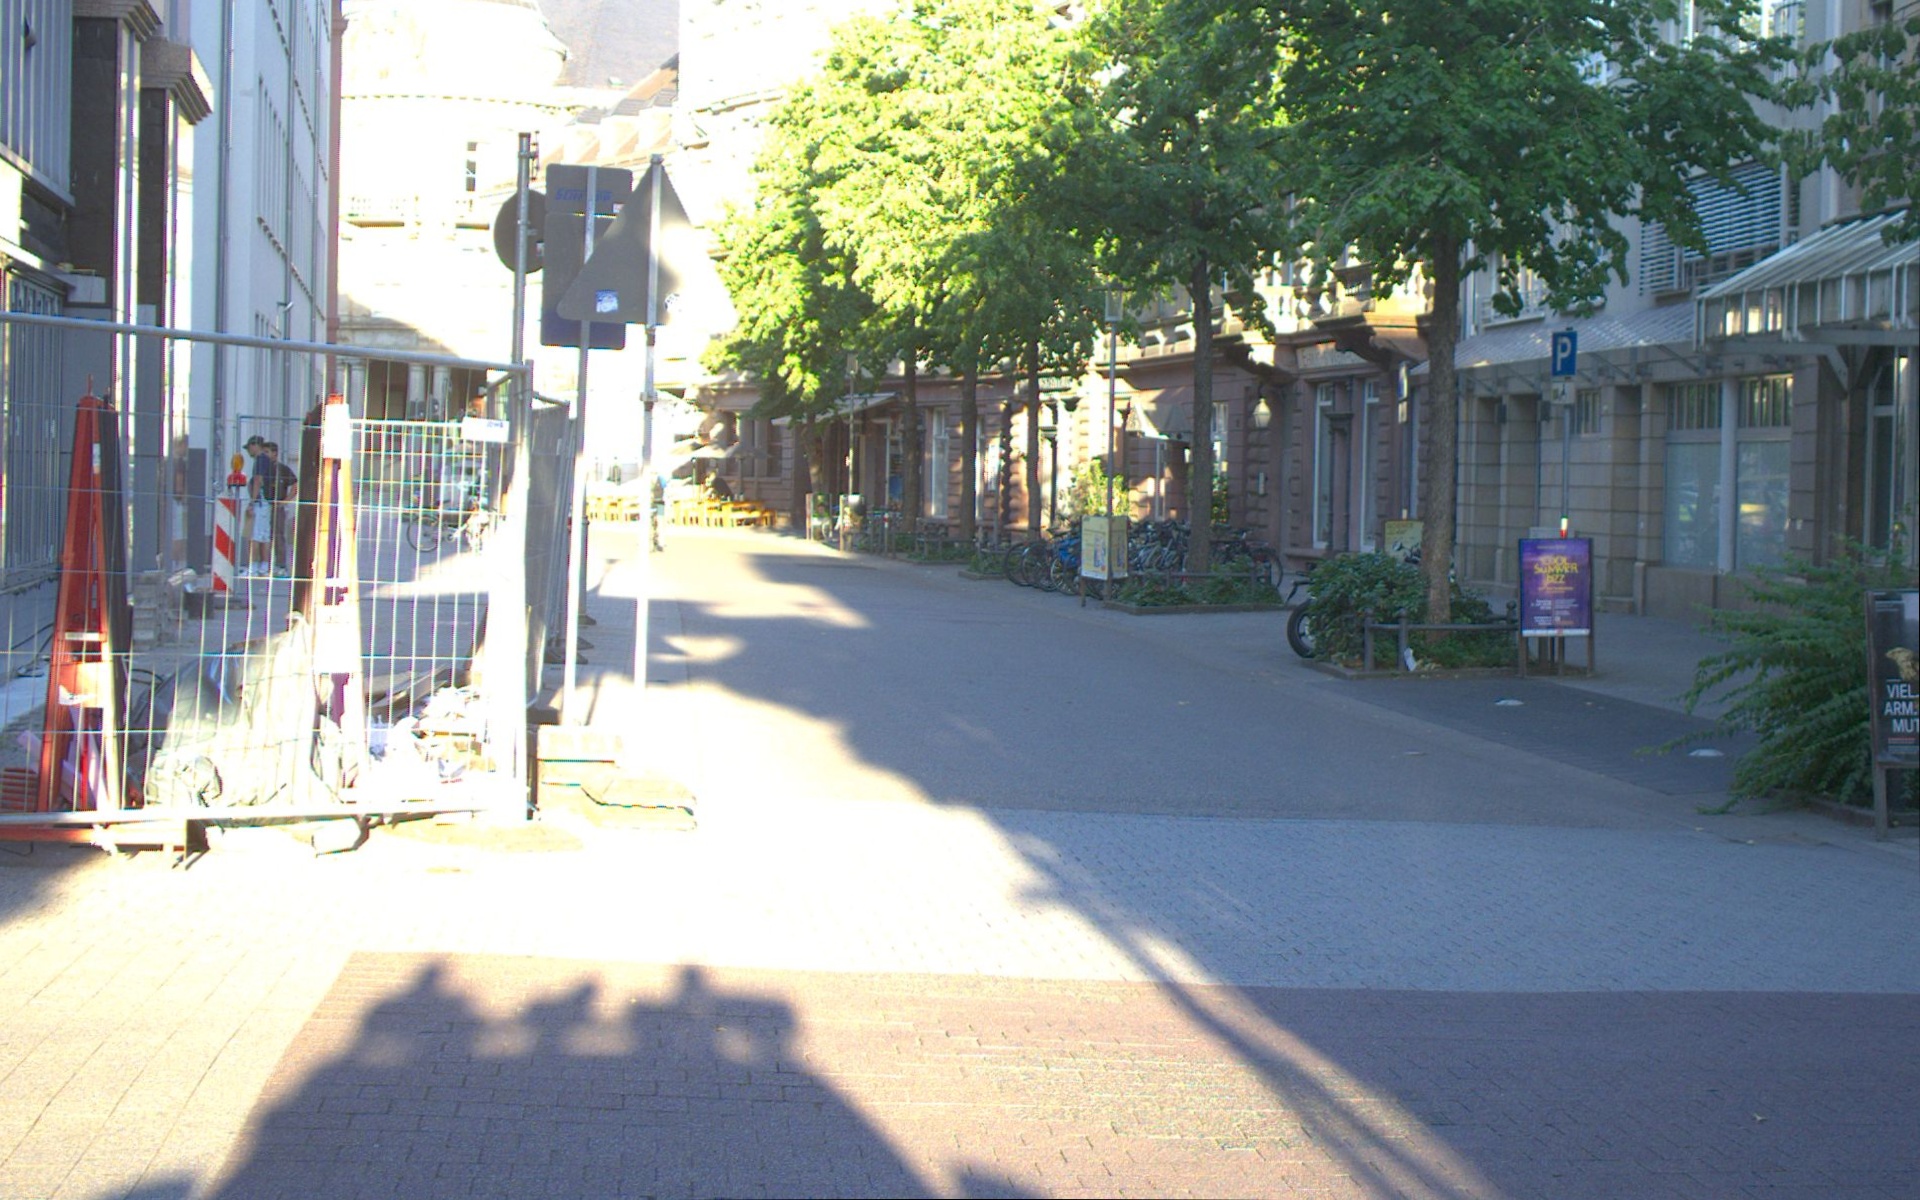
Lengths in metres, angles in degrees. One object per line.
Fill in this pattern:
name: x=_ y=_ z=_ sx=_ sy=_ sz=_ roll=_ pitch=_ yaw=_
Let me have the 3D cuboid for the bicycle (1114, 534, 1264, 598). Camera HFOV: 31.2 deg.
bicycle: x=3.379 y=-0.498 z=50.734 sx=2.152 sy=0.922 sz=0.591 roll=0 pitch=1 yaw=-21

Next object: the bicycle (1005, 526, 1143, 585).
bicycle: x=1.862 y=-0.723 z=56.078 sx=2.152 sy=0.922 sz=0.591 roll=0 pitch=1 yaw=-13

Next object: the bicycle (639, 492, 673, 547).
bicycle: x=-6.119 y=-1.621 z=69.103 sx=0.588 sy=1.091 sz=2.160 roll=1 pitch=1 yaw=-7

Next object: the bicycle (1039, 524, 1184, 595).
bicycle: x=2.321 y=-0.622 z=52.550 sx=2.153 sy=1.057 sz=0.590 roll=1 pitch=1 yaw=8

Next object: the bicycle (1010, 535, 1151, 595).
bicycle: x=1.916 y=-0.558 z=54.762 sx=2.152 sy=0.922 sz=0.591 roll=0 pitch=1 yaw=-13

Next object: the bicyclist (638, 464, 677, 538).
bicyclist: x=-6.067 y=-1.997 z=68.989 sx=0.721 sy=1.463 sz=0.718 roll=1 pitch=2 yaw=-8

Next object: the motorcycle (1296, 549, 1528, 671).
motorcycle: x=4.360 y=0.097 z=33.170 sx=2.152 sy=1.147 sz=0.494 roll=1 pitch=1 yaw=-8

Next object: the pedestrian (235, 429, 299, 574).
pedestrian: x=-8.560 y=-1.220 z=42.499 sx=0.654 sy=1.758 sz=0.634 roll=1 pitch=2 yaw=-1

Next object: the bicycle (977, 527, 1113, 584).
bicycle: x=1.402 y=-0.739 z=56.896 sx=2.152 sy=0.922 sz=0.591 roll=0 pitch=1 yaw=-13

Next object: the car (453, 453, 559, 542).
car: x=-9.011 y=-2.037 z=68.030 sx=1.841 sy=1.678 sz=3.646 roll=1 pitch=2 yaw=-11

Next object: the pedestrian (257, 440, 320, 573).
pedestrian: x=-8.413 y=-1.172 z=43.084 sx=0.654 sy=1.646 sz=0.634 roll=1 pitch=2 yaw=-1

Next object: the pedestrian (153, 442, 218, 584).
pedestrian: x=-9.537 y=-1.075 z=42.332 sx=0.654 sy=1.719 sz=0.634 roll=1 pitch=2 yaw=-1

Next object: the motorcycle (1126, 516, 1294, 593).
motorcycle: x=3.615 y=-0.651 z=49.667 sx=2.471 sy=1.091 sz=0.591 roll=0 pitch=1 yaw=-28
